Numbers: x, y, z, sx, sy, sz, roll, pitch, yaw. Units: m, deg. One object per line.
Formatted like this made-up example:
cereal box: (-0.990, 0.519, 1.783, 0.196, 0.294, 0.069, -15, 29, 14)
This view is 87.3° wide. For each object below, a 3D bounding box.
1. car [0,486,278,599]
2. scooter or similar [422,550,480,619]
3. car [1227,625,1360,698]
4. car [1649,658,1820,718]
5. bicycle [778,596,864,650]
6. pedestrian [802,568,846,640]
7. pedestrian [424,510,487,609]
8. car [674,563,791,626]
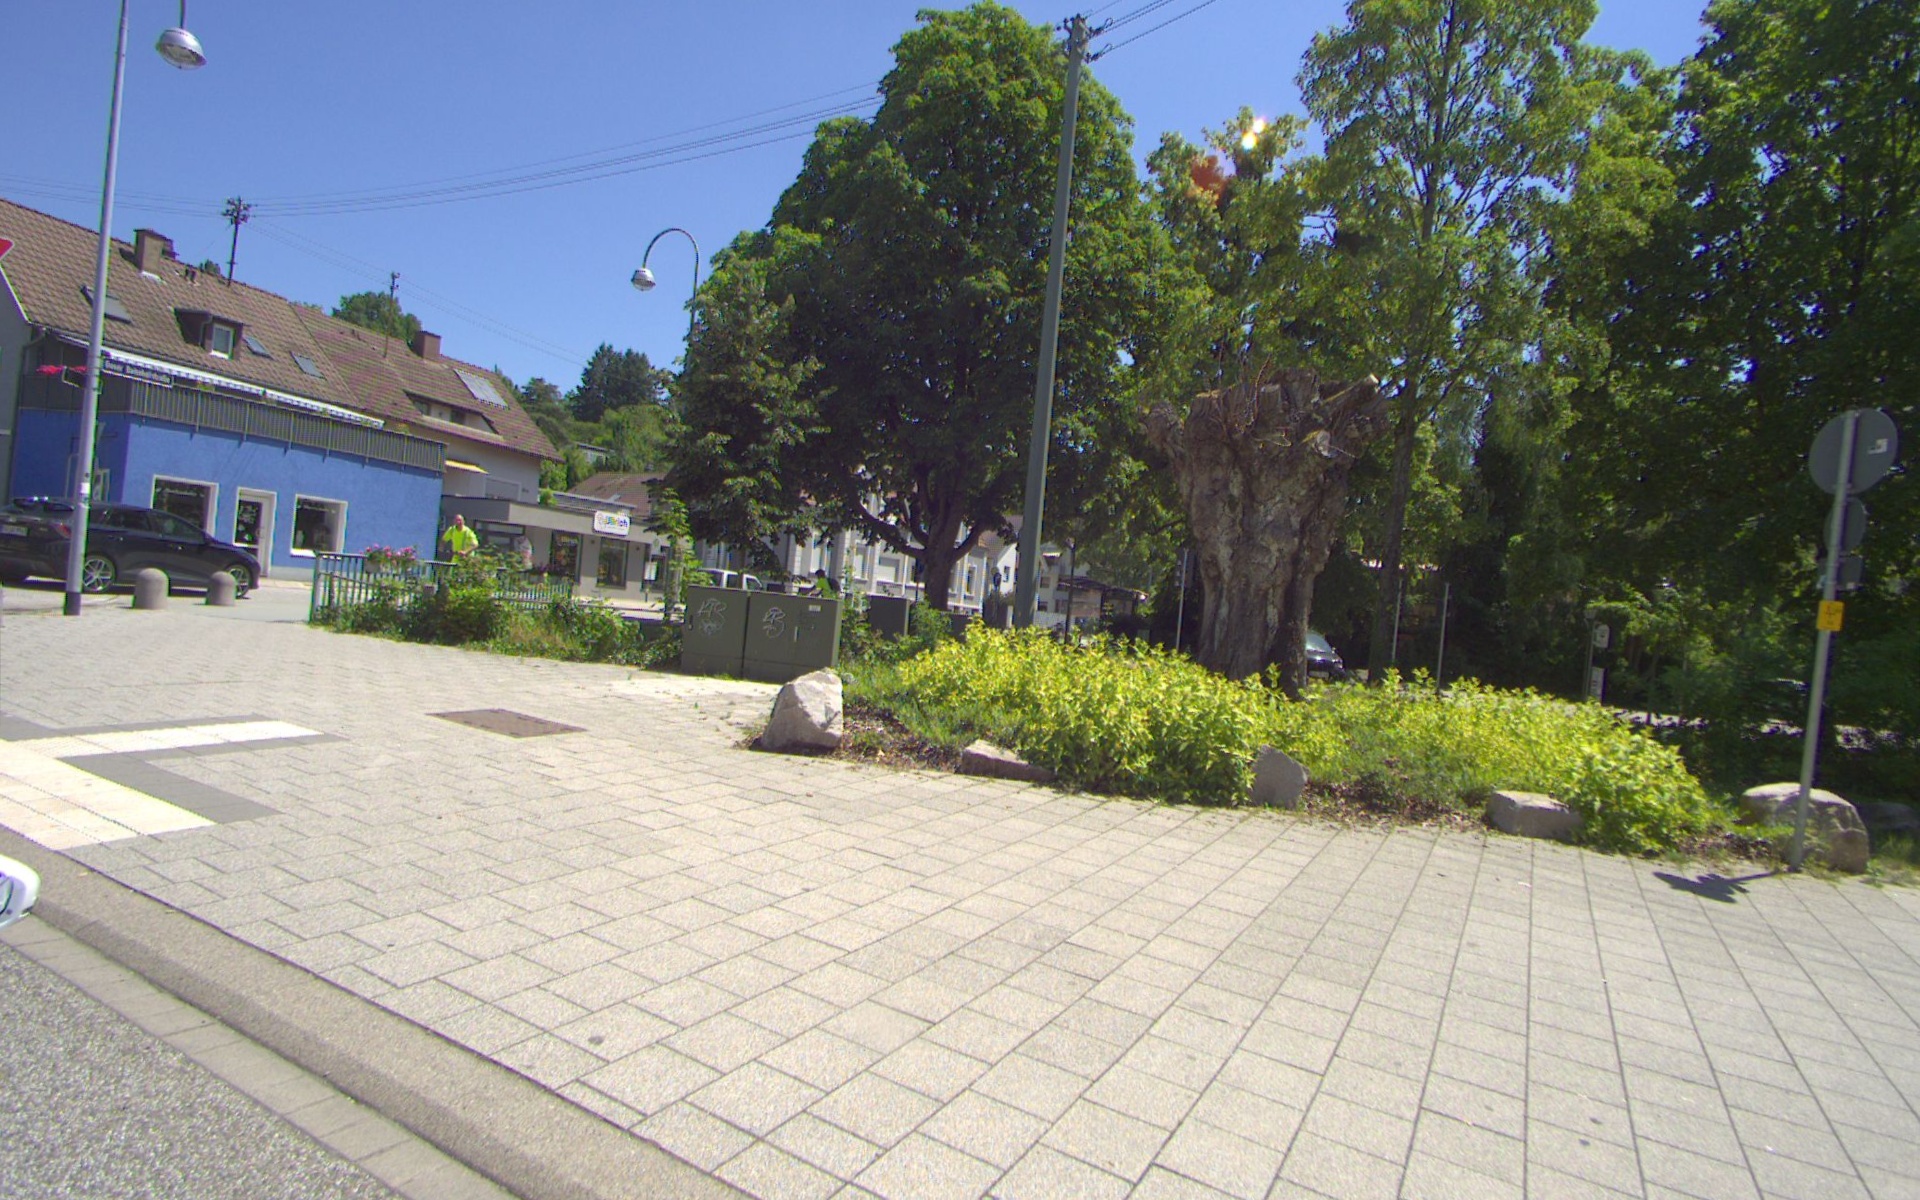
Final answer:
car: (-14.625, -0.938, 17.734, 1.777, 1.566, 4.264, 7, 0, 8)
scooter or similar: (-9.890, -0.313, 19.535, 1.223, 1.238, 0.527, 6, 1, 43)
car: (8.622, 1.549, 26.321, 1.644, 1.472, 3.756, 5, 0, -9)
car: (40.663, 4.593, 53.084, 2.168, 2.267, 6.715, 5, 0, -29)
bicycle: (-3.321, 0.543, 24.150, 1.814, 1.097, 0.747, 6, 1, 12)
pedestrian: (-3.252, 0.104, 24.124, 0.704, 1.652, 0.747, 5, 1, 12)
pedestrian: (-9.788, -0.778, 19.533, 0.667, 1.824, 0.738, 6, 2, 10)
car: (-8.124, -0.157, 36.283, 1.732, 1.898, 4.226, 6, 0, 25)
